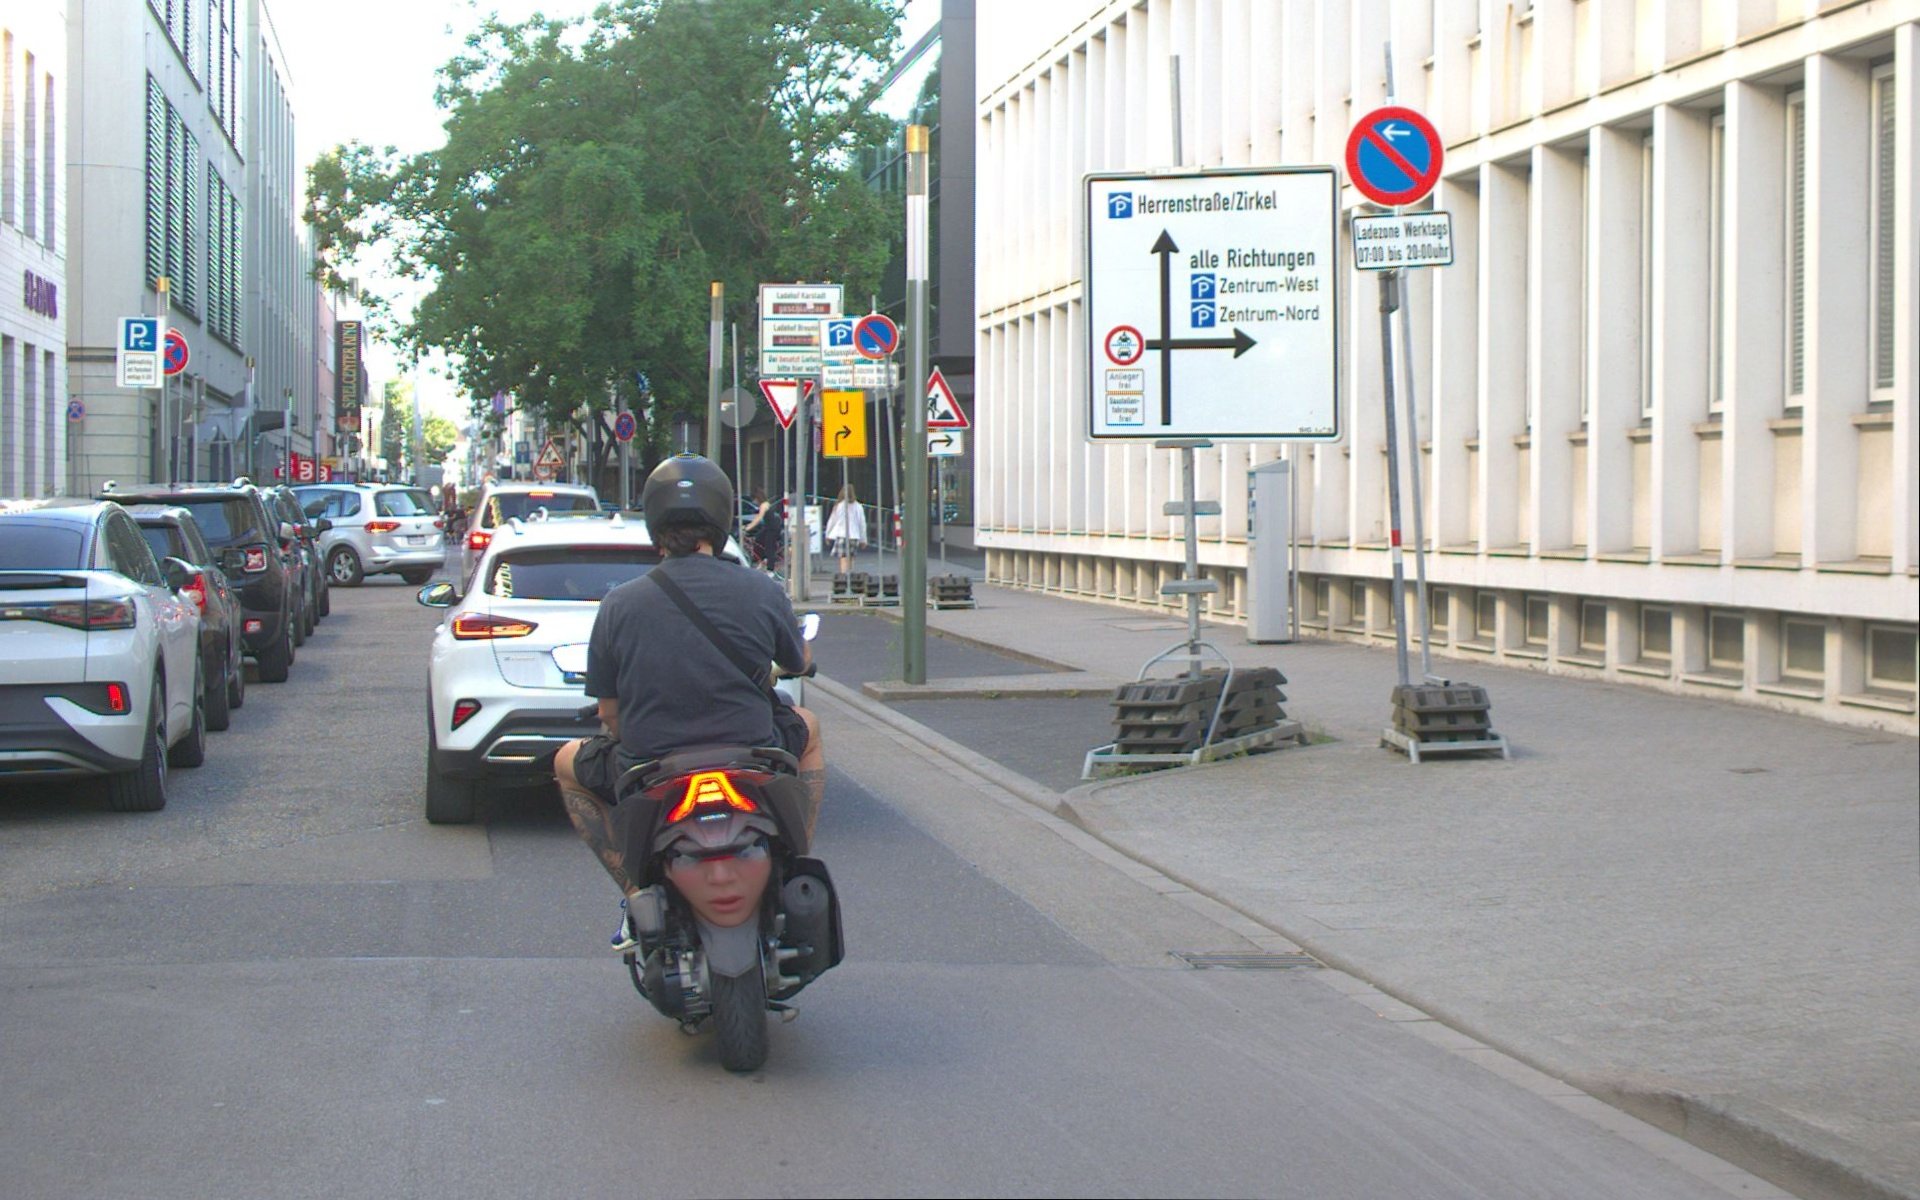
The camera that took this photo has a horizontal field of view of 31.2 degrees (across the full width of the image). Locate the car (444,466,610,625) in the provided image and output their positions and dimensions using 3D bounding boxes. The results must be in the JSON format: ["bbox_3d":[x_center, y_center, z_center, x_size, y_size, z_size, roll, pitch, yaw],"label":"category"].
[{"bbox_3d":[-5.403,-0.711,42.658,1.924,1.850,4.001,-1,2,-8],"label":"car"}]

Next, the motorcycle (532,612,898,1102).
[{"bbox_3d":[-0.797,0.676,10.302,0.905,1.179,2.579,-1,2,-8],"label":"motorcycle"}]

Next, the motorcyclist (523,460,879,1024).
[{"bbox_3d":[-0.794,0.373,10.174,0.954,1.554,1.239,-1,2,-8],"label":"motorcyclist"}]

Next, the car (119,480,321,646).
[{"bbox_3d":[-7.639,-0.426,35.745,1.776,1.601,3.516,-2,2,-8],"label":"car"}]

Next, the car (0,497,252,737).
[{"bbox_3d":[-6.031,0.062,24.188,1.810,1.522,3.516,-2,2,-8],"label":"car"}]

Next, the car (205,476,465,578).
[{"bbox_3d":[-10.113,-1.193,55.554,3.995,1.590,1.901,1,2,36],"label":"car"}]

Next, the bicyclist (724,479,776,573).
[{"bbox_3d":[-3.823,-1.347,62.555,0.747,1.700,0.737,0,2,13],"label":"bicyclist"}]

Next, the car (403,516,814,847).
[{"bbox_3d":[-1.805,0.333,17.901,1.859,1.467,4.001,1,2,-5],"label":"car"}]

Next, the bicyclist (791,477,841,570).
[{"bbox_3d":[-2.659,-1.416,63.650,0.747,1.700,0.737,0,2,13],"label":"bicyclist"}]

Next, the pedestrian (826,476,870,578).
[{"bbox_3d":[-1.769,-1.155,54.419,0.643,1.596,0.620,-1,2,-6],"label":"pedestrian"}]

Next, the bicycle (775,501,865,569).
[{"bbox_3d":[-2.597,-1.200,63.635,1.564,1.245,0.552,0,2,13],"label":"bicycle"}]

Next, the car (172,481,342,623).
[{"bbox_3d":[-8.468,-0.622,41.647,1.776,1.601,3.516,-2,2,-8],"label":"car"}]

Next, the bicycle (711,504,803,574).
[{"bbox_3d":[-3.682,-1.108,62.487,1.564,1.245,0.552,0,2,13],"label":"bicycle"}]

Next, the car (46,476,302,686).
[{"bbox_3d":[-6.664,-0.217,29.445,1.810,1.640,3.516,-2,2,-8],"label":"car"}]

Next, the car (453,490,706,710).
[{"bbox_3d":[-2.971,-0.069,26.552,1.773,1.545,4.108,-1,2,-7],"label":"car"}]

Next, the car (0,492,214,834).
[{"bbox_3d":[-5.098,0.249,18.424,1.810,1.601,4.269,-2,2,-8],"label":"car"}]
